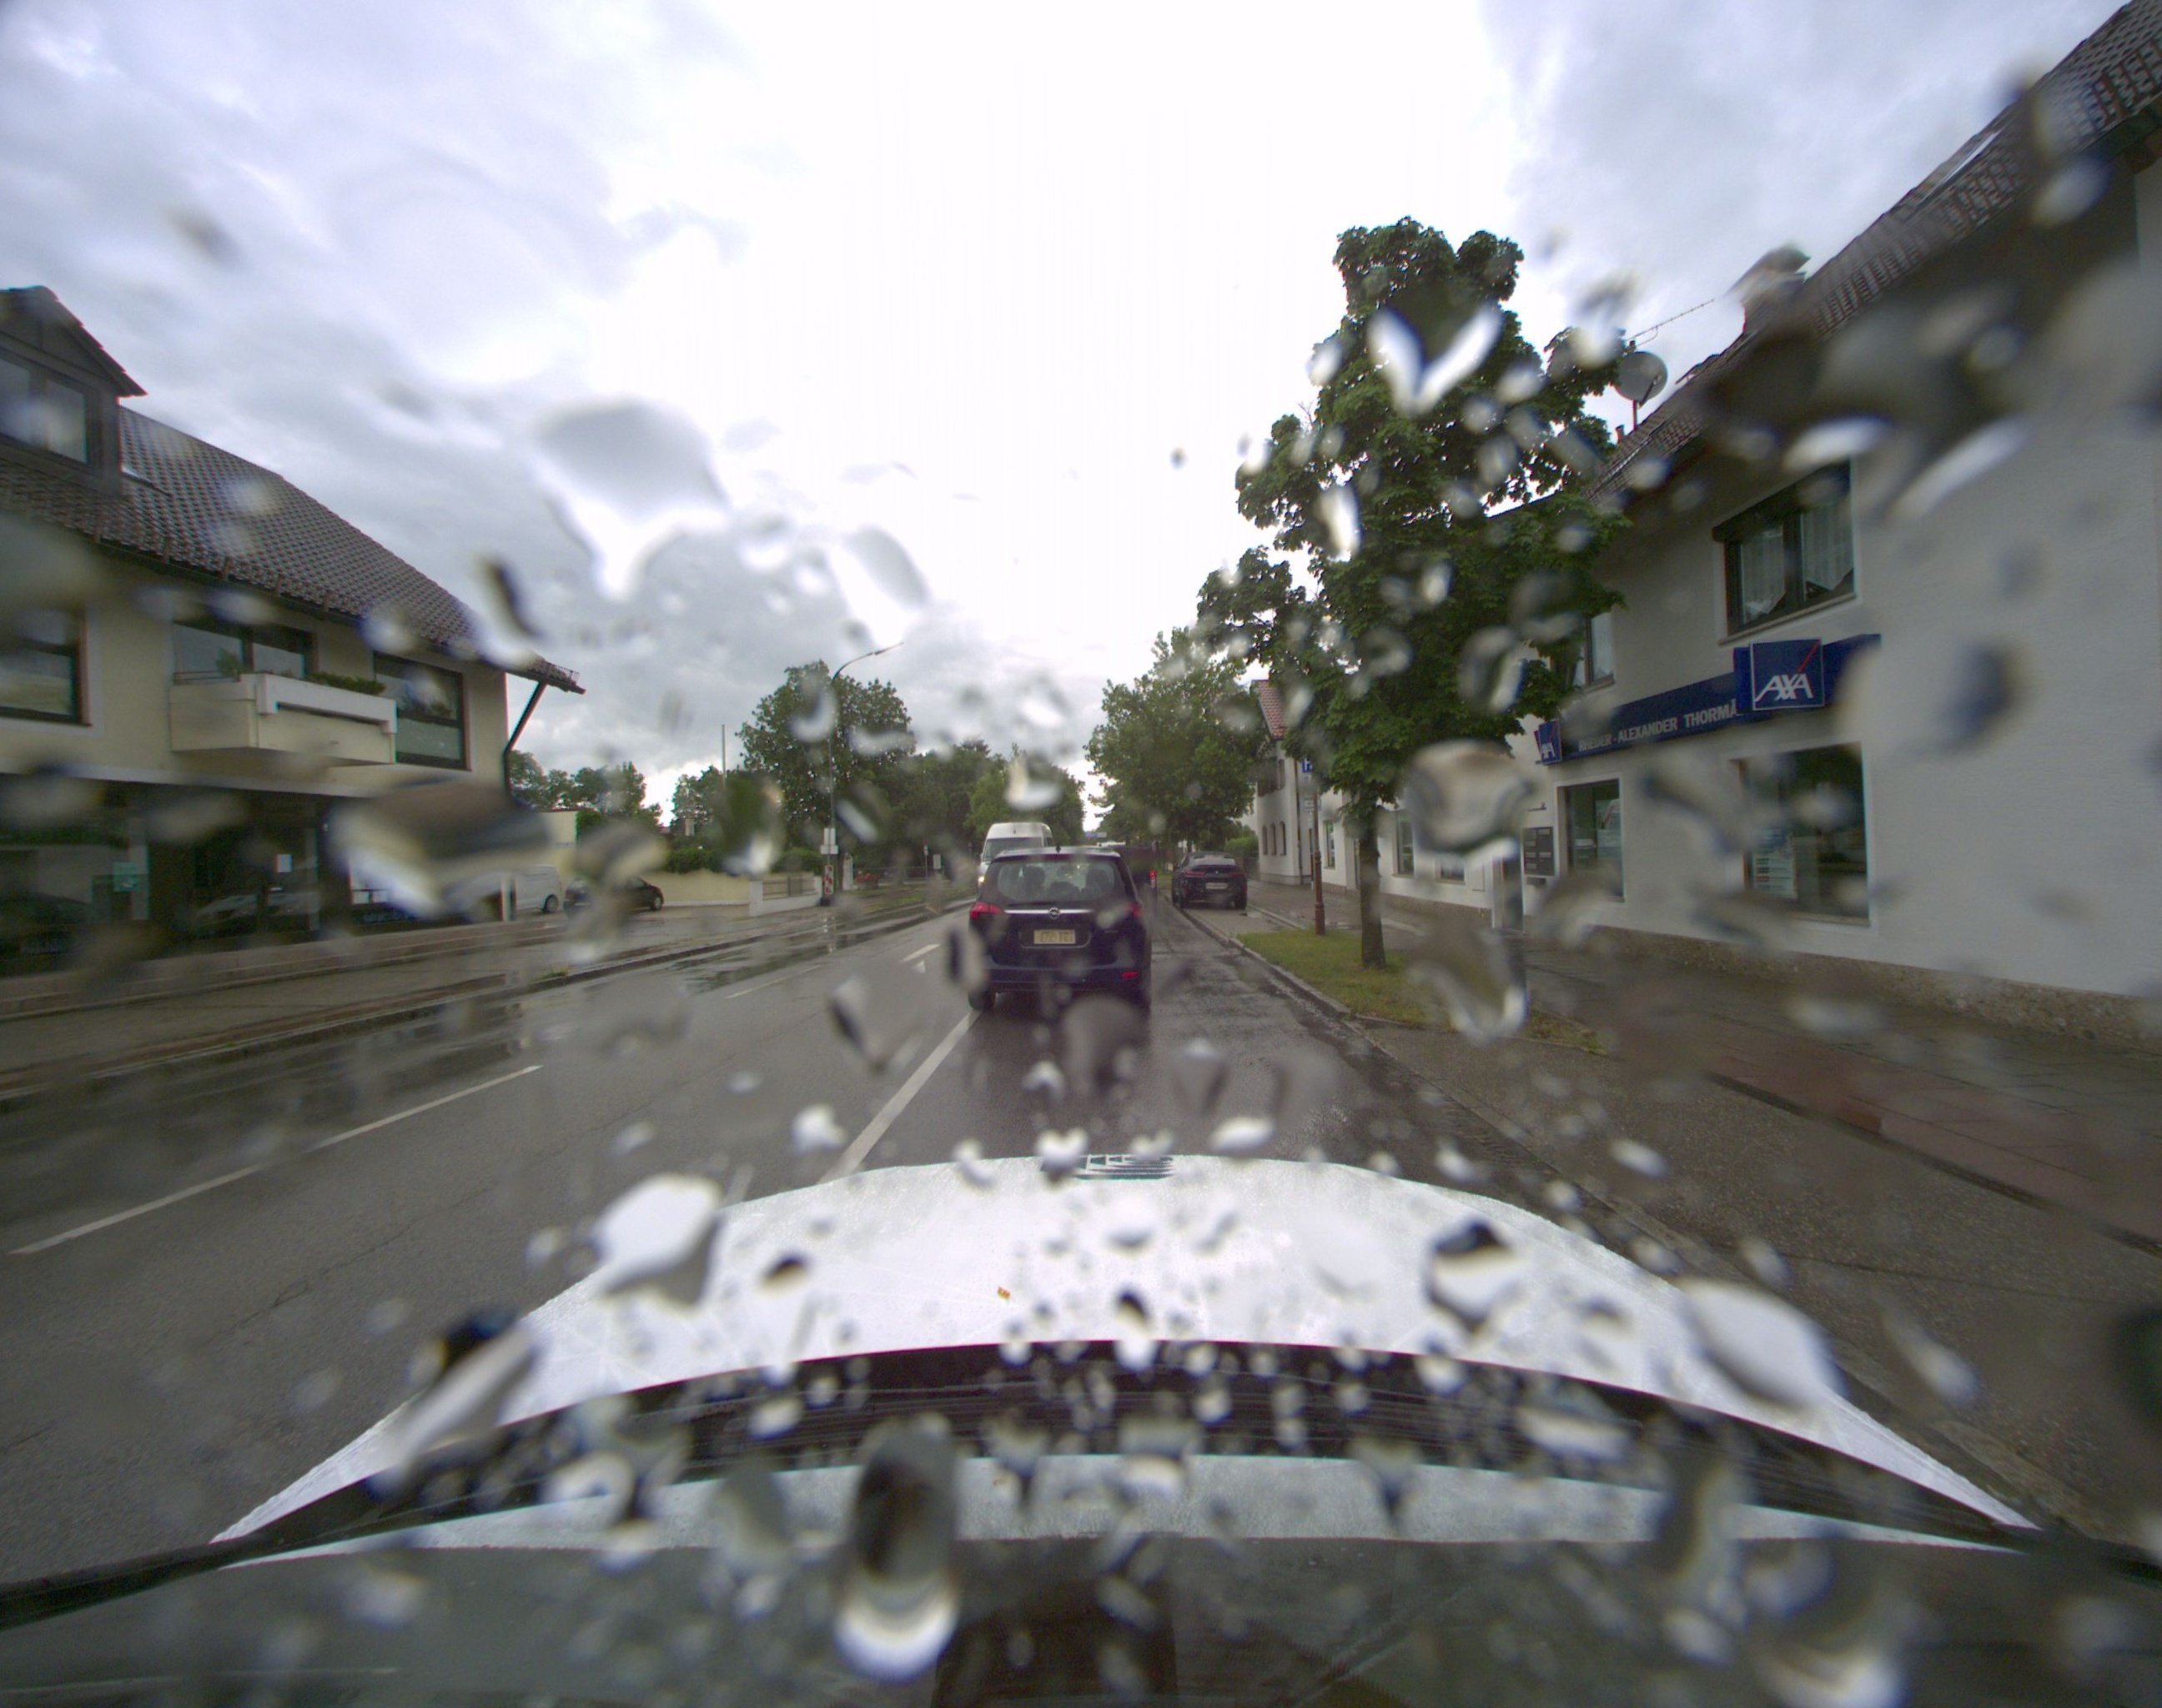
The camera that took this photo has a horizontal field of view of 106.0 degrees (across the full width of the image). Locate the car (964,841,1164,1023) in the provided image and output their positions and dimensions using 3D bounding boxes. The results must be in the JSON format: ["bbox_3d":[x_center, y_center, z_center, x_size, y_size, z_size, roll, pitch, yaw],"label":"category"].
[{"bbox_3d":[-0.081,0.708,9.114,1.762,1.604,3.665,-1,0,2],"label":"car"}]

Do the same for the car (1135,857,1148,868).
[{"bbox_3d":[8.387,1.191,112.954,1.624,1.378,3.624,-1,-1,2],"label":"car"}]

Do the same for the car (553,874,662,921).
[{"bbox_3d":[-16.293,1.462,28.238,1.601,1.380,3.509,-3,0,1],"label":"car"}]

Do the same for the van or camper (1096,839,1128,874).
[{"bbox_3d":[2.537,0.201,66.583,2.351,2.665,5.374,-2,0,2],"label":"van or camper"}]

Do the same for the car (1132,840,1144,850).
[{"bbox_3d":[8.565,-1.323,122.238,1.624,1.378,3.624,-3,-1,2],"label":"car"}]

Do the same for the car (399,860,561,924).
[{"bbox_3d":[-20.879,1.231,28.599,1.957,1.919,4.738,-3,0,1],"label":"car"}]

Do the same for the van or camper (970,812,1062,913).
[{"bbox_3d":[-1.885,0.239,25.679,2.086,2.707,6.271,-2,0,2],"label":"van or camper"}]

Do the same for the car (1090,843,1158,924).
[{"bbox_3d":[1.018,0.667,19.763,1.494,1.776,3.113,-1,0,2],"label":"car"}]

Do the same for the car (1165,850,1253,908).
[{"bbox_3d":[3.712,0.706,24.295,2.110,1.581,3.936,-1,-1,1],"label":"car"}]
